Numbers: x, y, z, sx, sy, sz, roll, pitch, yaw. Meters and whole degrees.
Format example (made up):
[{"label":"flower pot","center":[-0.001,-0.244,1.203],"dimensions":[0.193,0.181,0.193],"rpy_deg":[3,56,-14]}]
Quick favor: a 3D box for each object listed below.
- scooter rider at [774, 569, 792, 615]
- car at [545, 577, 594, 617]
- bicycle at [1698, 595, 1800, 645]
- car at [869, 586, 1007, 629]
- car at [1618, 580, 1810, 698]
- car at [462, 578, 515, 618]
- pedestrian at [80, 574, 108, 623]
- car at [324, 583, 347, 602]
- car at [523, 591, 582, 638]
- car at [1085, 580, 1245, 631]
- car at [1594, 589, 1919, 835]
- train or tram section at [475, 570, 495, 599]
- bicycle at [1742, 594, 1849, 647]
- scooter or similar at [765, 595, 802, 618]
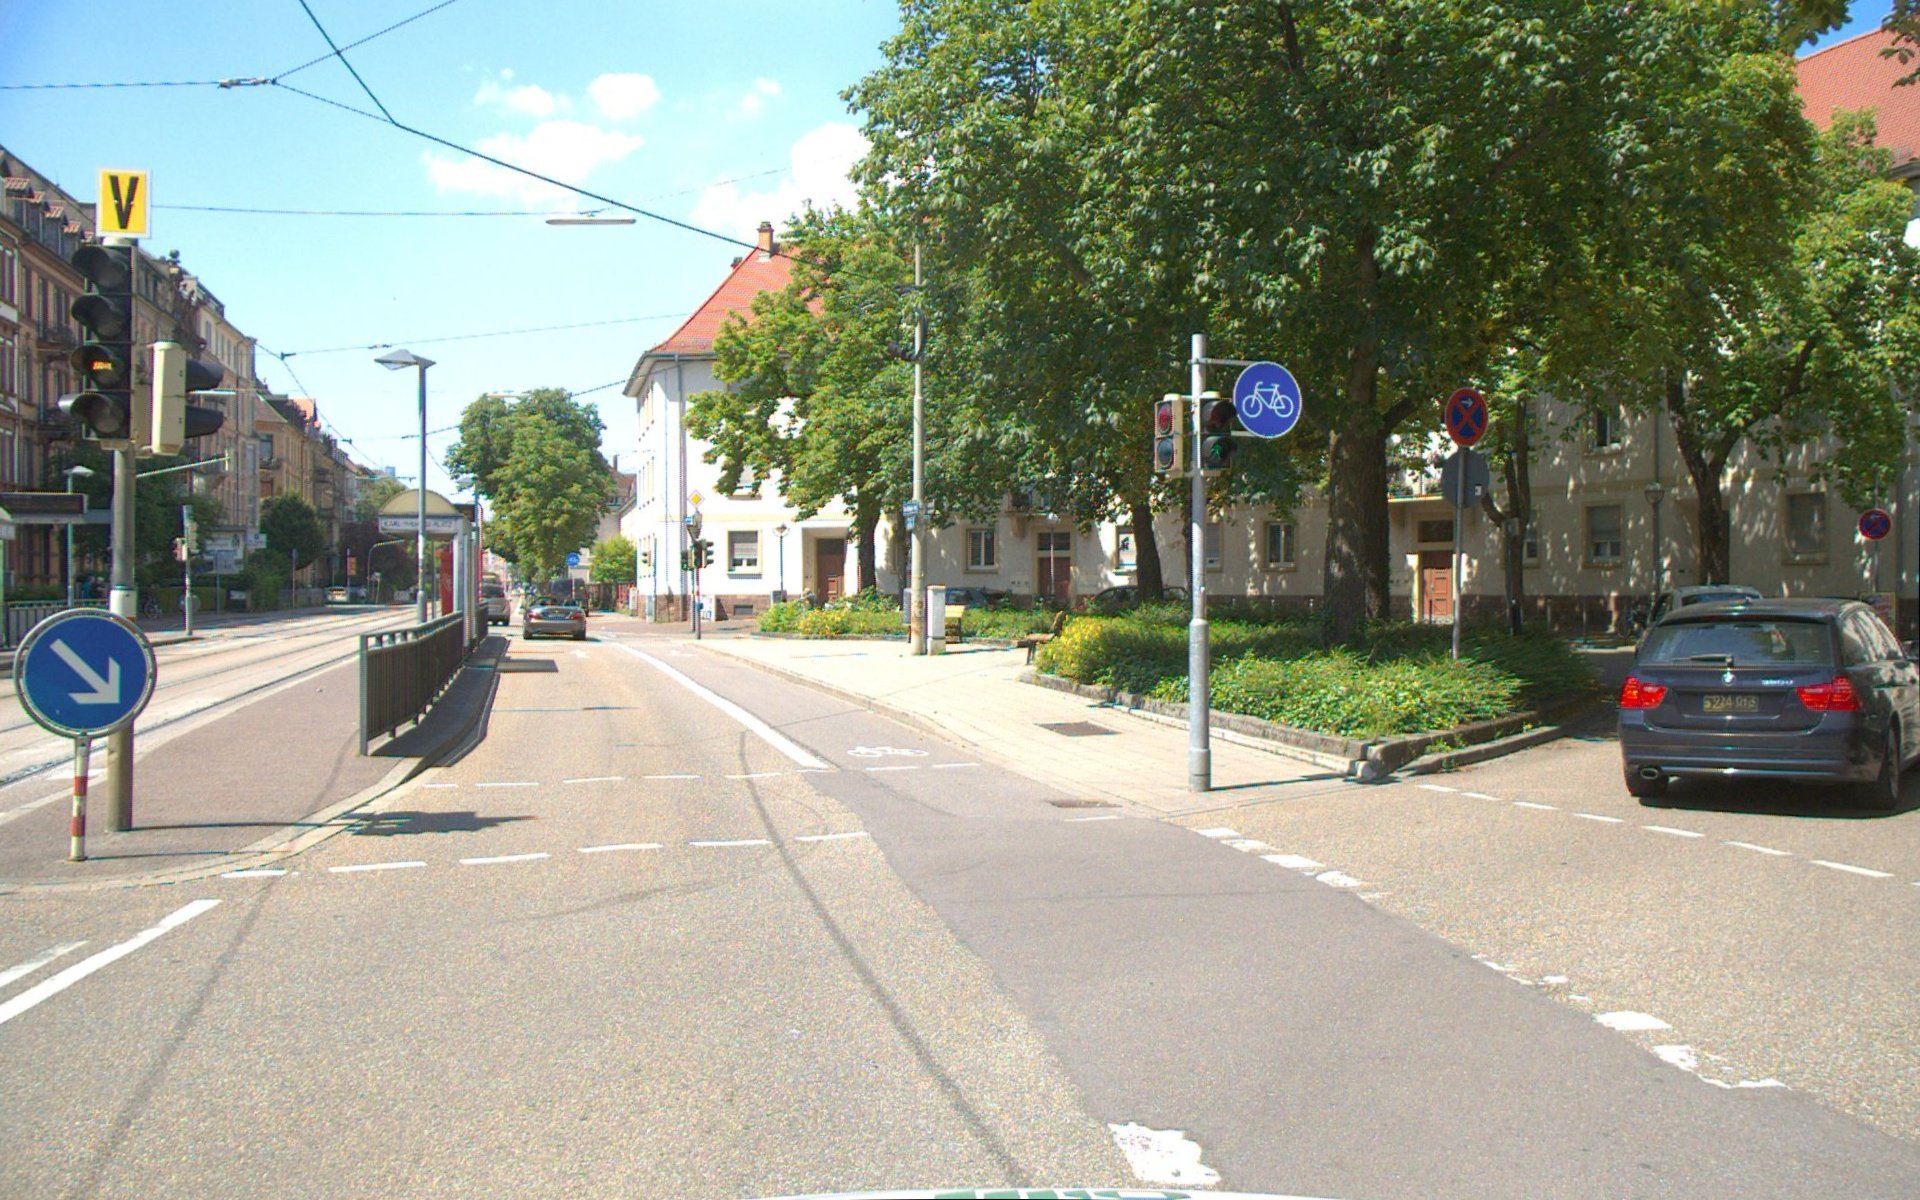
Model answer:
[{"label":"scooter rider","center":[-6.603,-0.295,61.730],"dimensions":[0.582,1.716,0.525],"rpy_deg":[0,0,-20]},{"label":"car","center":[-19.045,-0.173,80.554],"dimensions":[1.963,1.881,3.979],"rpy_deg":[0,1,-18]},{"label":"bicycle","center":[17.414,0.427,36.512],"dimensions":[2.172,1.077,0.555],"rpy_deg":[0,0,-14]},{"label":"car","center":[-0.672,0.220,50.605],"dimensions":[3.904,1.265,1.624],"rpy_deg":[0,1,20]},{"label":"car","center":[10.488,0.485,23.267],"dimensions":[1.649,1.510,3.688],"rpy_deg":[0,1,11]},{"label":"car","center":[-18.872,-0.095,66.129],"dimensions":[1.668,1.540,3.795],"rpy_deg":[0,0,-22]},{"label":"pedestrian","center":[-32.695,-0.065,62.455],"dimensions":[0.625,1.843,0.741],"rpy_deg":[0,0,4]},{"label":"car","center":[-55.776,-0.674,147.657],"dimensions":[1.763,1.614,3.971],"rpy_deg":[1,0,-23]},{"label":"car","center":[-12.375,0.418,50.151],"dimensions":[1.663,1.346,3.806],"rpy_deg":[0,0,-15]},{"label":"car","center":[5.730,0.123,46.466],"dimensions":[4.264,1.351,1.781],"rpy_deg":[0,1,43]},{"label":"car","center":[6.220,0.667,12.381],"dimensions":[1.693,1.433,4.548],"rpy_deg":[0,1,35]},{"label":"train or tram section","center":[-58.944,-1.905,205.324],"dimensions":[2.154,3.543,8.810],"rpy_deg":[0,1,-15]},{"label":"bicycle","center":[17.557,0.413,34.744],"dimensions":[2.174,1.077,0.651],"rpy_deg":[0,0,-18]},{"label":"scooter or similar","center":[-6.592,0.227,61.737],"dimensions":[1.292,0.852,0.523],"rpy_deg":[0,0,-21]}]
